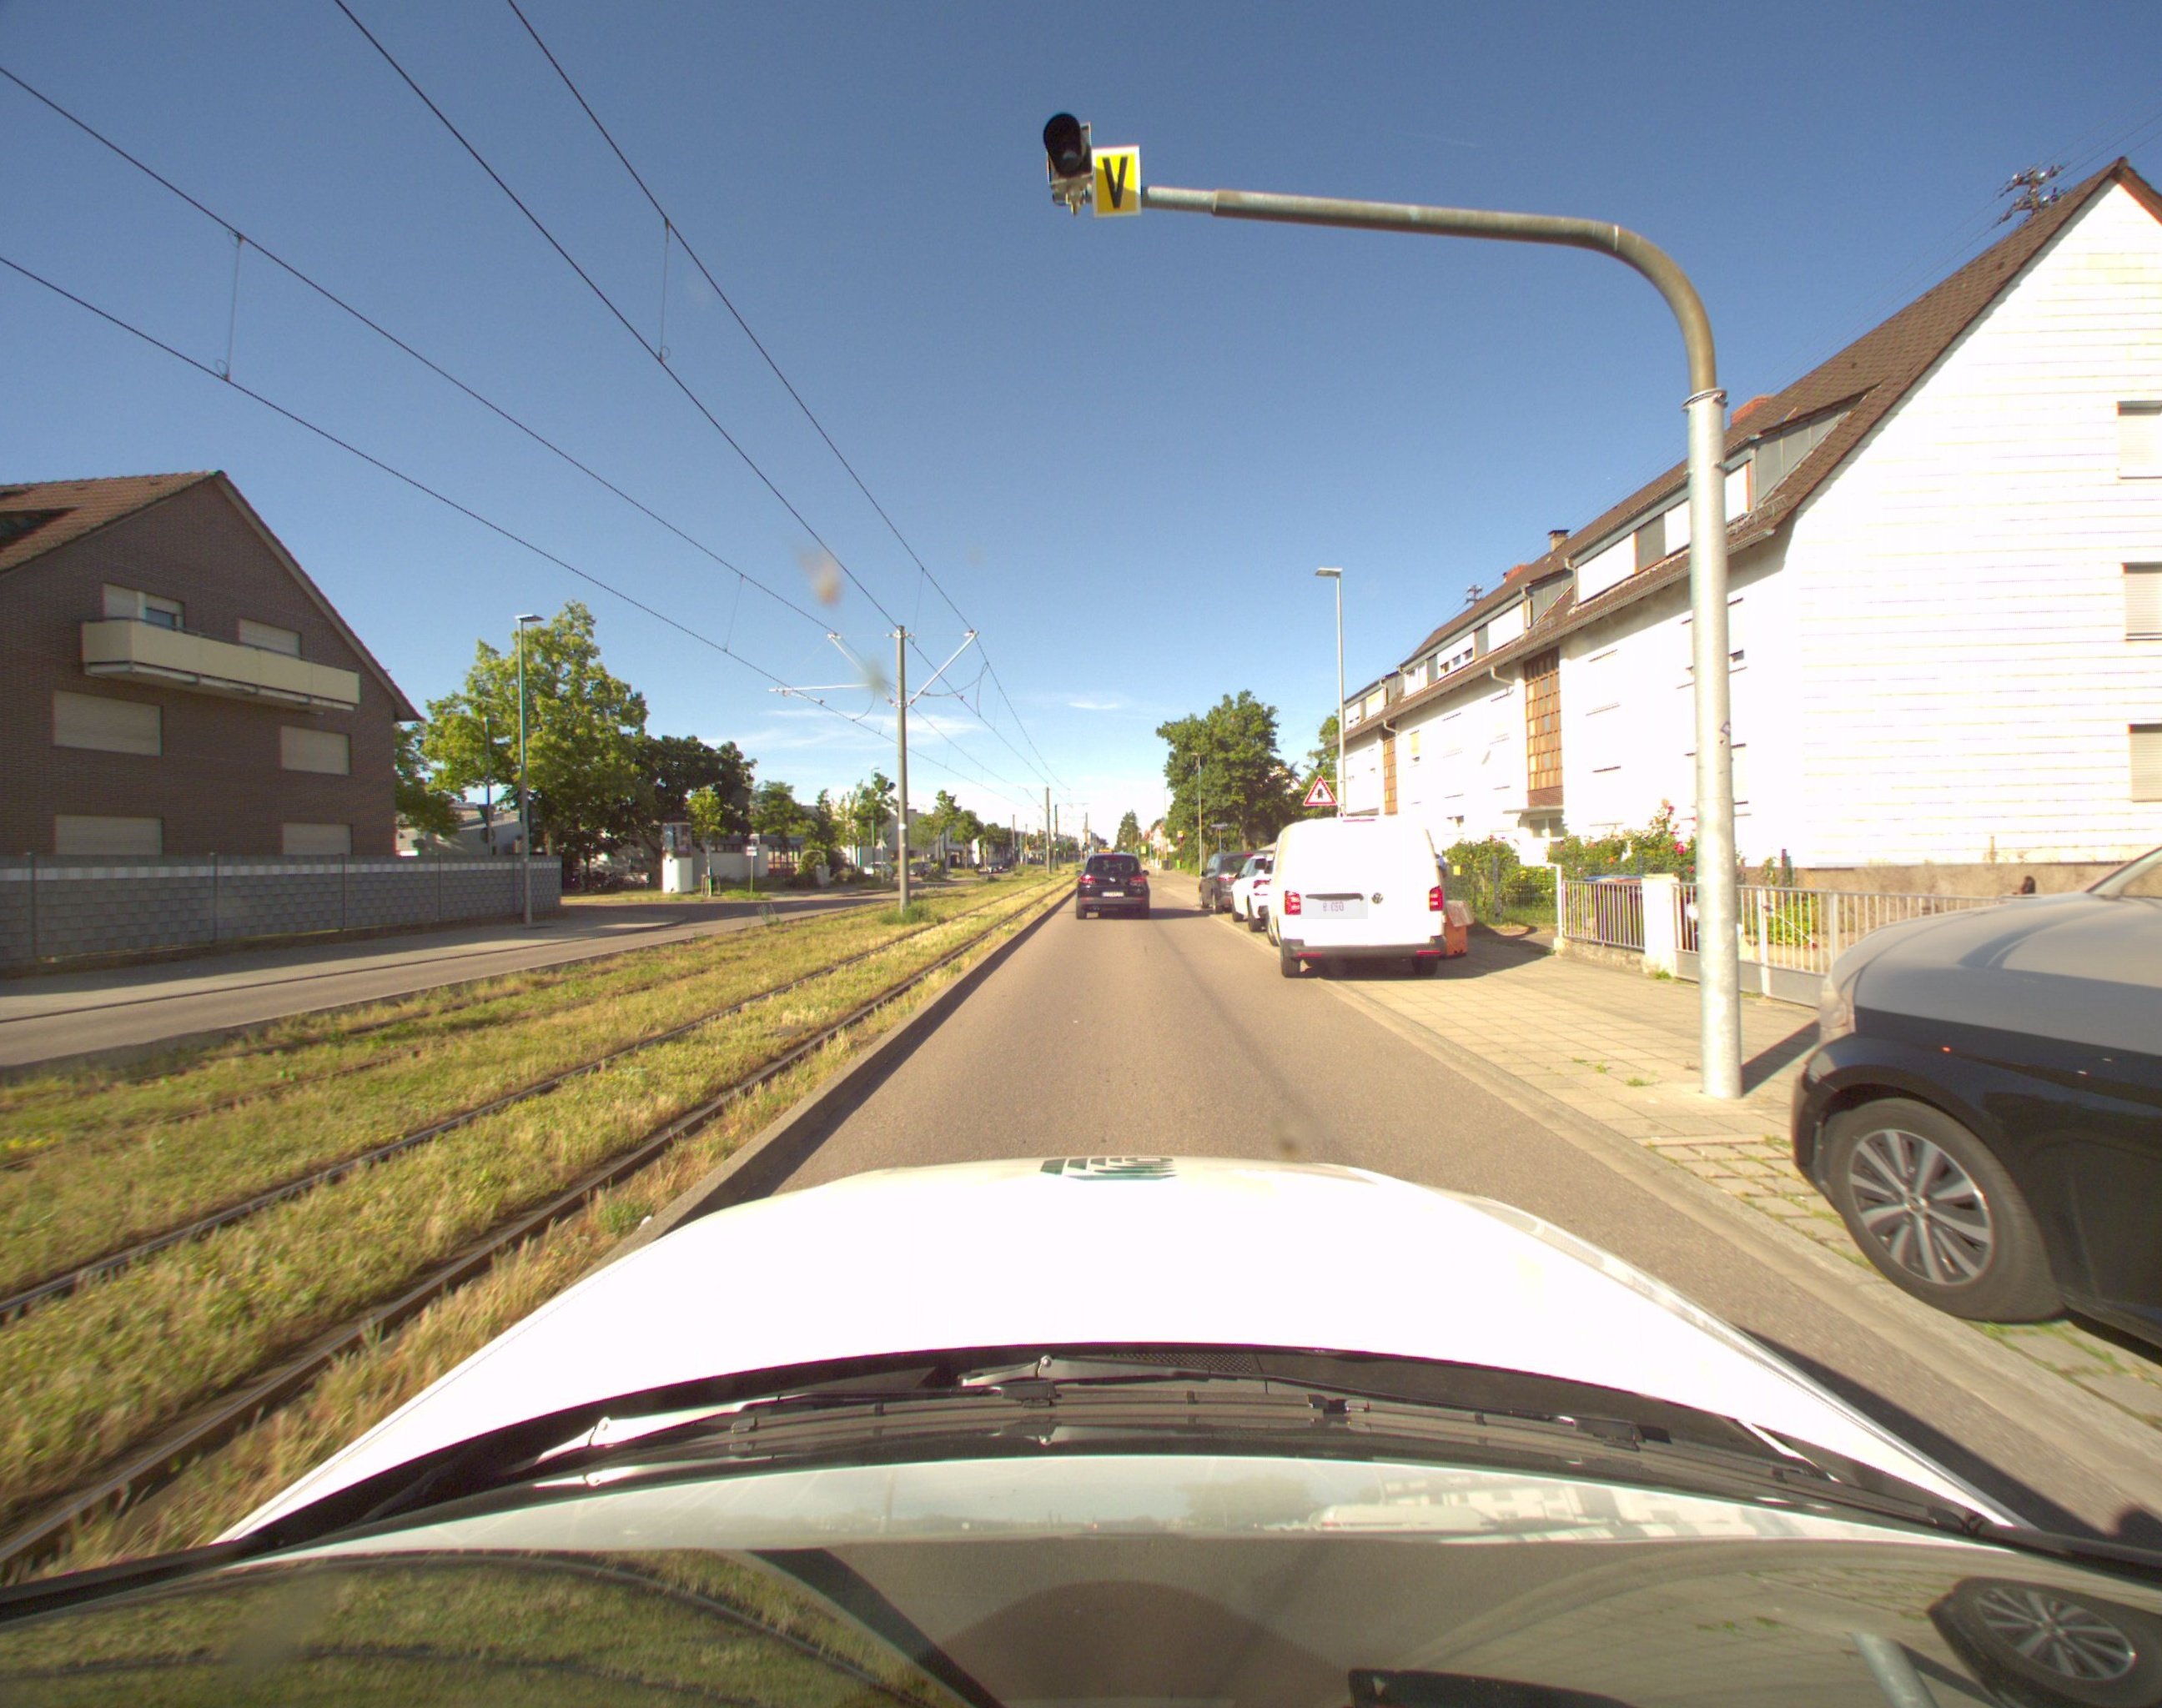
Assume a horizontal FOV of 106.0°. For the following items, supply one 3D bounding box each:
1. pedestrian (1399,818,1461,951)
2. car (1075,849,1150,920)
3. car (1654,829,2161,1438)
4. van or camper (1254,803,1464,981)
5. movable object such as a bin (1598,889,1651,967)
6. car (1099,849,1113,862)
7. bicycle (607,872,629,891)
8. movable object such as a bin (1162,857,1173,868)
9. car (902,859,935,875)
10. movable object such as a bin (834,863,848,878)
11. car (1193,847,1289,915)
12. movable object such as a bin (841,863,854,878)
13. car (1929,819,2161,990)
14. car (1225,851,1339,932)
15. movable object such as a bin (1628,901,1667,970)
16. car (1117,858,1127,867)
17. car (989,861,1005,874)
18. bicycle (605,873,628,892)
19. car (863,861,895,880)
[{"bbox_3d":[5.157,0.437,12.072,0.694,1.912,0.761,0,-1,10],"label":"pedestrian"},{"bbox_3d":[0.761,0.747,21.346,1.770,1.670,3.999,0,-1,0],"label":"car"},{"bbox_3d":[3.504,0.665,1.236,1.742,1.494,5.157,-3,-1,2],"label":"car"},{"bbox_3d":[3.652,0.434,11.749,2.015,1.956,5.309,-2,0,10],"label":"van or camper"},{"bbox_3d":[6.697,0.897,10.051,0.286,0.909,0.597,0,-1,5],"label":"movable object such as a bin"},{"bbox_3d":[4.873,0.312,157.877,2.385,2.564,5.533,-1,-1,3],"label":"car"},{"bbox_3d":[-26.993,1.593,47.470,1.038,1.059,0.303,-1,0,-16],"label":"bicycle"},{"bbox_3d":[8.475,0.841,79.959,0.971,1.111,1.172,-1,0,5],"label":"movable object such as a bin"},{"bbox_3d":[-15.403,1.262,77.394,1.801,1.461,4.325,0,-1,6],"label":"car"},{"bbox_3d":[-22.867,1.565,77.660,0.660,1.383,1.425,0,-1,10],"label":"movable object such as a bin"},{"bbox_3d":[4.375,0.692,23.012,1.785,1.628,4.862,-3,0,1],"label":"car"},{"bbox_3d":[-22.711,1.615,79.264,0.660,1.433,1.258,0,-1,10],"label":"movable object such as a bin"},{"bbox_3d":[11.663,0.395,7.986,4.696,1.477,1.906,-1,-1,0],"label":"car"},{"bbox_3d":[4.177,0.726,17.531,1.649,1.492,4.164,-2,-1,4],"label":"car"},{"bbox_3d":[6.662,0.953,9.577,0.251,0.779,0.317,0,-1,5],"label":"movable object such as a bin"},{"bbox_3d":[7.746,1.610,154.827,1.770,1.670,3.999,-1,0,0],"label":"car"},{"bbox_3d":[-10.011,1.596,97.227,1.685,1.389,4.380,-3,-1,-5],"label":"car"},{"bbox_3d":[-26.894,1.638,47.152,1.055,1.083,0.303,-1,0,-16],"label":"bicycle"},{"bbox_3d":[-15.868,1.277,64.042,1.539,1.491,3.775,0,-1,1],"label":"car"}]
